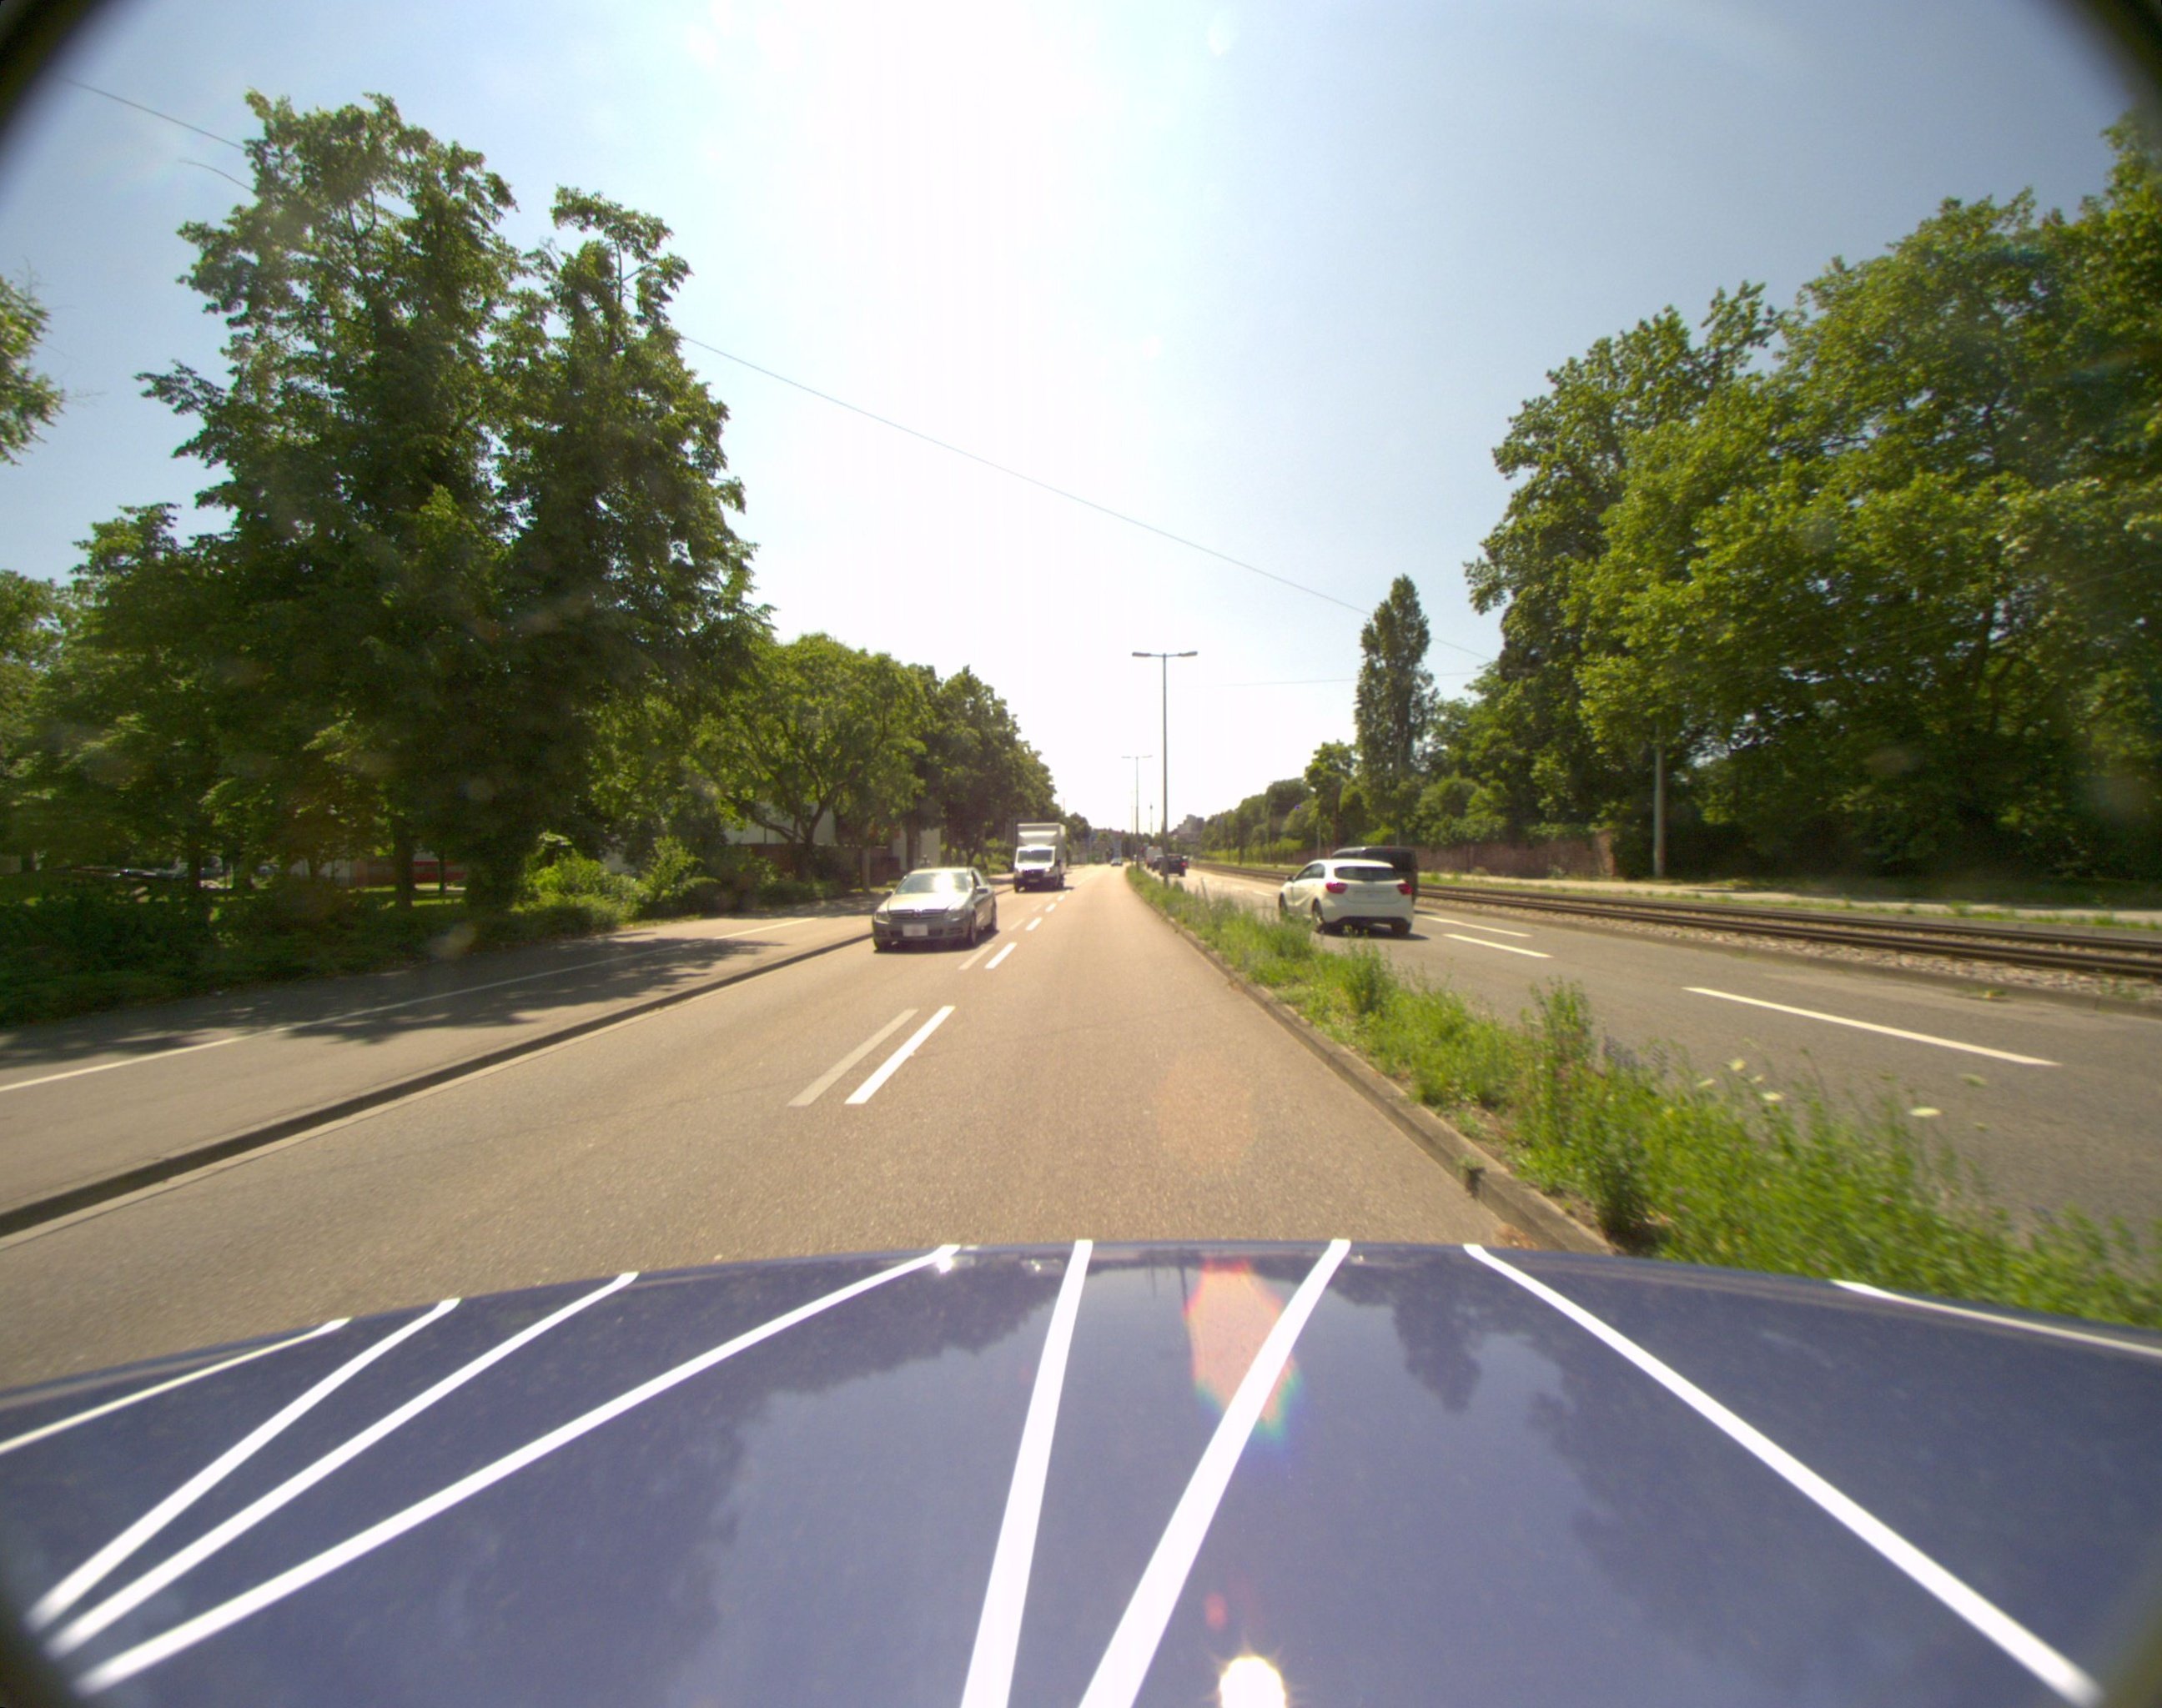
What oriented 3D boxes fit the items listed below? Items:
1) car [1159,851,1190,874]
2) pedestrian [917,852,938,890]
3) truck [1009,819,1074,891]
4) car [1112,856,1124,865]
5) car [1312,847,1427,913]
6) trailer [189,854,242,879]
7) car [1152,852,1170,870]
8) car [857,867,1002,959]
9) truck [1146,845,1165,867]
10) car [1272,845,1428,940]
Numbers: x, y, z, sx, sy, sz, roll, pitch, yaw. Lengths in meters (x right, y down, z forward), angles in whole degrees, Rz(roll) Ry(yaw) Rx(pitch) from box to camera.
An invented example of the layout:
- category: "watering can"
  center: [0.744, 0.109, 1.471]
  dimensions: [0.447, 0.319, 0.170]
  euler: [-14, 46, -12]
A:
- category: "car"
  center: [7.357, 0.646, 59.983]
  dimensions: [1.834, 1.703, 4.793]
  euler: [1, 0, 0]
- category: "pedestrian"
  center: [-6.755, 0.744, 33.511]
  dimensions: [0.670, 1.634, 0.856]
  euler: [-1, 1, 2]
- category: "truck"
  center: [-1.872, 0.026, 39.223]
  dimensions: [2.294, 3.259, 8.313]
  euler: [-1, 0, 4]
- category: "car"
  center: [6.427, 1.167, 131.910]
  dimensions: [1.829, 1.556, 4.000]
  euler: [-1, 0, 0]
- category: "car"
  center: [8.673, 0.708, 23.310]
  dimensions: [1.834, 1.791, 4.614]
  euler: [1, 0, 1]
- category: "trailer"
  center: [-125.800, 1.793, 110.402]
  dimensions: [5.859, 3.490, 2.001]
  euler: [-1, 1, 6]
- category: "car"
  center: [8.204, 0.681, 78.302]
  dimensions: [1.833, 1.746, 4.490]
  euler: [1, 0, 5]
- category: "car"
  center: [-2.776, 1.033, 14.867]
  dimensions: [1.903, 1.451, 3.971]
  euler: [-2, 0, 1]
- category: "truck"
  center: [9.382, 0.255, 96.394]
  dimensions: [2.086, 2.732, 5.548]
  euler: [0, 0, 3]
- category: "car"
  center: [5.442, 0.708, 15.972]
  dimensions: [1.834, 1.728, 4.037]
  euler: [1, 0, 0]
